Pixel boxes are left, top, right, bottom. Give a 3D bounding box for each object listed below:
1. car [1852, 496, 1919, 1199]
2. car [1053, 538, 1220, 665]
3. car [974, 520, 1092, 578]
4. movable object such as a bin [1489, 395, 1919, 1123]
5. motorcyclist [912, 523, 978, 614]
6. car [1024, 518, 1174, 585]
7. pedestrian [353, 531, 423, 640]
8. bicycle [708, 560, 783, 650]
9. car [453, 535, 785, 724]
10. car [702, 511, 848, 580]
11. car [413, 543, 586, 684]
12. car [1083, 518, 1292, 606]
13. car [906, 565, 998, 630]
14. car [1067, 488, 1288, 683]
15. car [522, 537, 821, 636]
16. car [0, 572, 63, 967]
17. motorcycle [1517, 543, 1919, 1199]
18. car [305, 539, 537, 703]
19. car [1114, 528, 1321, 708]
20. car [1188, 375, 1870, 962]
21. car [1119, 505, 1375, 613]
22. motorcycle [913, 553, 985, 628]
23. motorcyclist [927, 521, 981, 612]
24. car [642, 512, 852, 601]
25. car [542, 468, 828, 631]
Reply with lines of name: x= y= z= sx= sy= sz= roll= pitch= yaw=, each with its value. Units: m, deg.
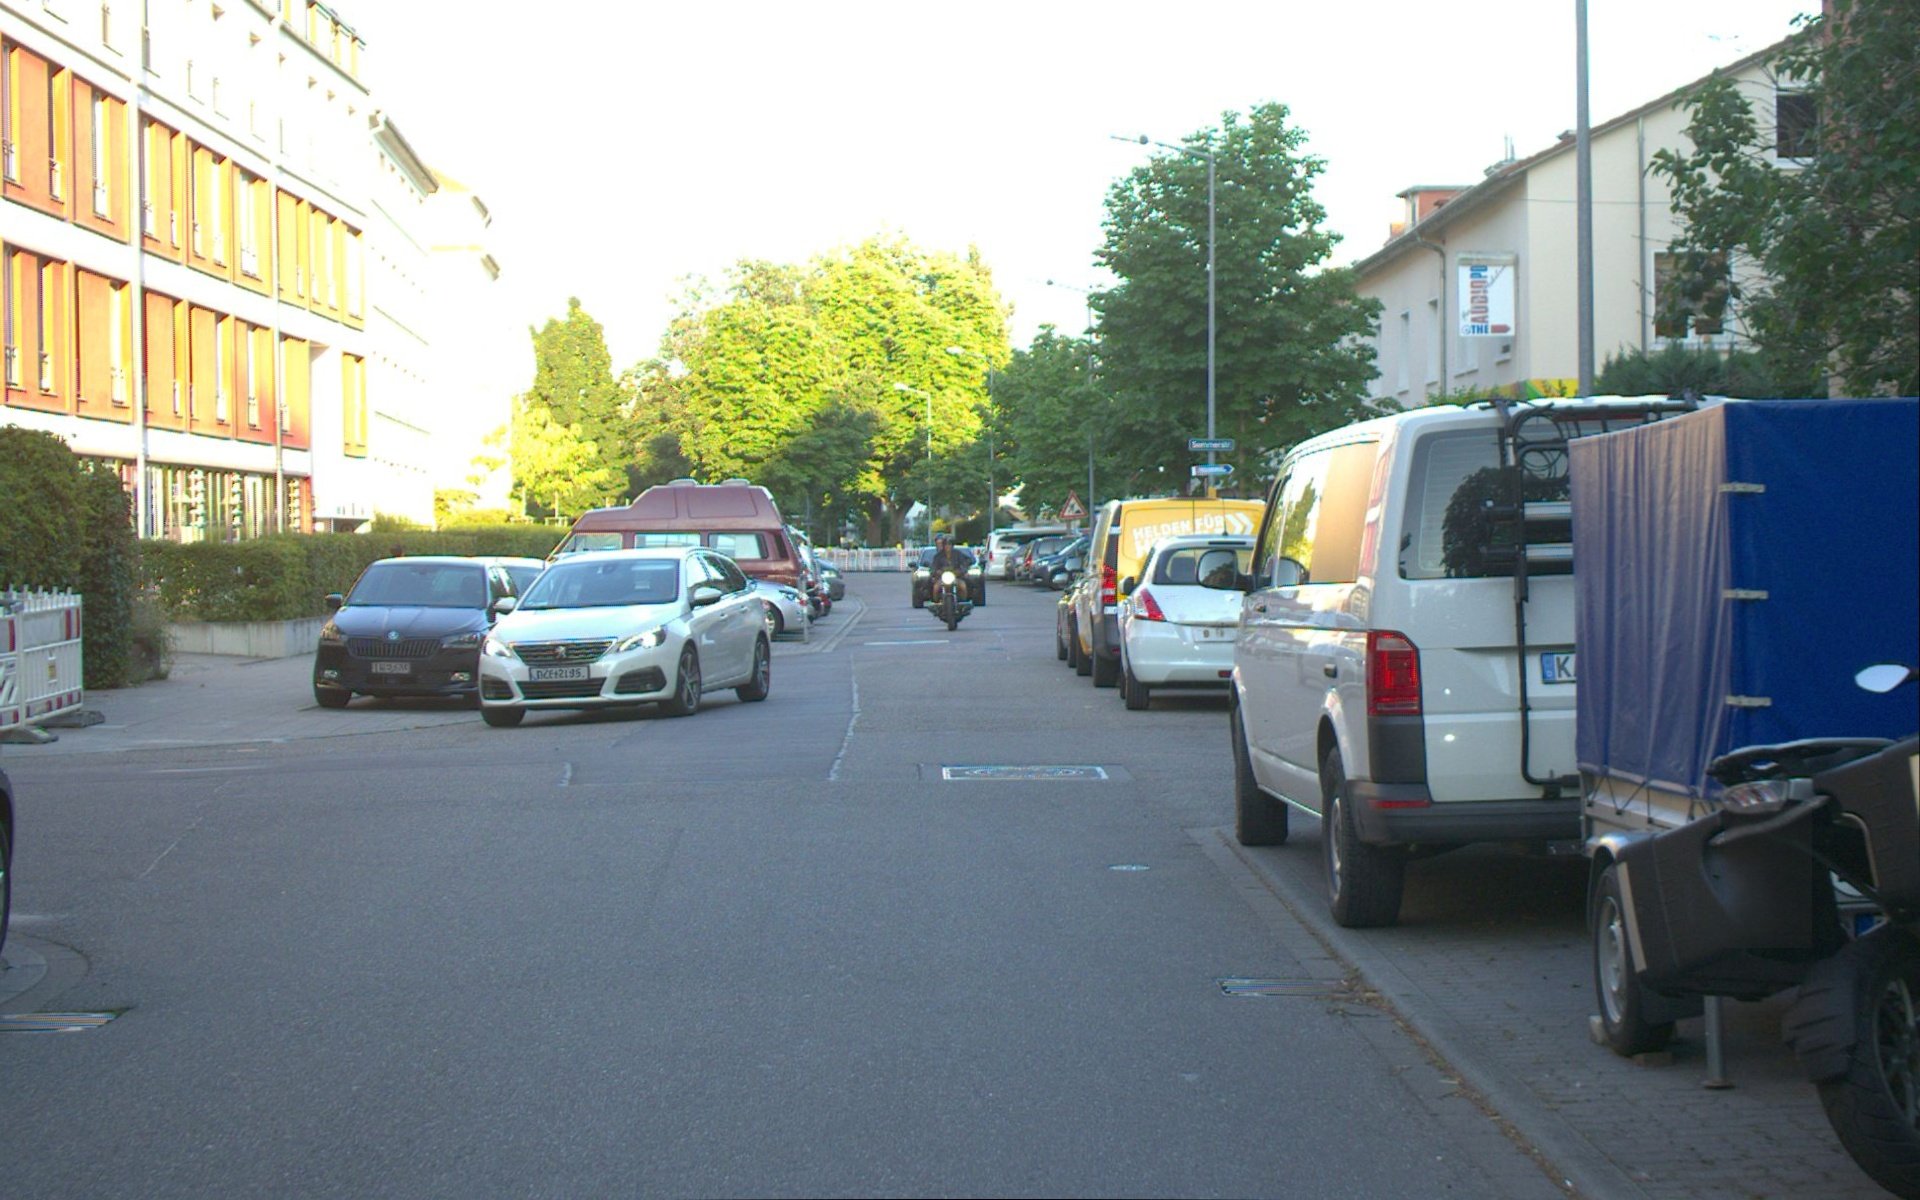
car: x=2.423 y=0.632 z=4.054 sx=1.720 sy=1.546 sz=4.325 roll=0 pitch=1 yaw=2
car: x=2.065 y=-0.022 z=41.232 sx=1.721 sy=1.419 sz=4.253 roll=1 pitch=1 yaw=-1
car: x=2.618 y=-1.846 z=123.603 sx=3.967 sy=1.905 sz=2.050 roll=-2 pitch=1 yaw=-5
movable object such as a bin: x=2.497 y=0.383 z=10.123 sx=1.412 sy=1.871 sz=2.325 roll=-2 pitch=1 yaw=-1
motorcyclist: x=-0.255 y=-0.542 z=59.027 sx=0.890 sy=1.500 sz=0.969 roll=-3 pitch=1 yaw=10
car: x=4.346 y=-1.522 z=108.001 sx=4.478 sy=1.905 sz=1.688 roll=-2 pitch=1 yaw=-5
pedestrian: x=-8.028 y=-0.210 z=48.280 sx=0.832 sy=1.496 sz=0.798 roll=1 pitch=1 yaw=0
bicycle: x=-3.046 y=0.057 z=49.049 sx=0.808 sy=1.217 sz=2.865 roll=1 pitch=1 yaw=1
car: x=-2.928 y=0.202 z=30.556 sx=1.816 sy=1.517 sz=4.597 roll=-1 pitch=1 yaw=9
car: x=-5.924 y=-1.748 z=110.407 sx=4.533 sy=2.127 sz=2.000 roll=1 pitch=1 yaw=0
car: x=-5.233 y=0.116 z=39.467 sx=1.650 sy=1.525 sz=4.018 roll=0 pitch=1 yaw=-3
car: x=5.635 y=-0.959 z=85.576 sx=4.944 sy=1.951 sz=2.049 roll=-2 pitch=1 yaw=-2
car: x=-0.183 y=-0.089 z=86.435 sx=1.780 sy=1.512 sz=3.999 roll=-2 pitch=1 yaw=7
car: x=2.184 y=-0.183 z=35.789 sx=1.893 sy=1.877 sz=5.082 roll=0 pitch=1 yaw=-1
car: x=-4.529 y=-0.226 z=54.350 sx=4.615 sy=1.455 sz=1.881 roll=1 pitch=1 yaw=-3
car: x=-4.358 y=0.654 z=11.583 sx=1.674 sy=1.456 sz=4.464 roll=0 pitch=1 yaw=-2
motorcycle: x=2.508 y=0.603 z=8.124 sx=2.088 sy=1.477 sz=1.133 roll=-3 pitch=1 yaw=-34
car: x=-5.267 y=0.167 z=34.005 sx=1.703 sy=1.529 sz=3.844 roll=0 pitch=1 yaw=0
car: x=2.210 y=0.115 z=30.297 sx=1.675 sy=1.472 sz=3.861 roll=0 pitch=1 yaw=2
car: x=2.221 y=0.195 z=15.063 sx=1.861 sy=2.032 sz=5.545 roll=-2 pitch=1 yaw=-2
car: x=5.833 y=-0.841 z=70.410 sx=4.990 sy=1.976 sz=2.220 roll=-2 pitch=1 yaw=0
motorcycle: x=-0.186 y=-0.175 z=59.355 sx=0.846 sy=1.205 sz=2.074 roll=-3 pitch=1 yaw=9
motorcyclist: x=-0.102 y=-0.577 z=59.774 sx=0.787 sy=1.535 sz=0.545 roll=-3 pitch=0 yaw=10
car: x=-5.049 y=-1.032 z=81.904 sx=4.850 sy=2.014 sz=1.906 roll=1 pitch=1 yaw=0
car: x=-4.513 y=-0.833 z=56.919 sx=4.511 sy=2.575 sz=2.000 roll=1 pitch=1 yaw=1
